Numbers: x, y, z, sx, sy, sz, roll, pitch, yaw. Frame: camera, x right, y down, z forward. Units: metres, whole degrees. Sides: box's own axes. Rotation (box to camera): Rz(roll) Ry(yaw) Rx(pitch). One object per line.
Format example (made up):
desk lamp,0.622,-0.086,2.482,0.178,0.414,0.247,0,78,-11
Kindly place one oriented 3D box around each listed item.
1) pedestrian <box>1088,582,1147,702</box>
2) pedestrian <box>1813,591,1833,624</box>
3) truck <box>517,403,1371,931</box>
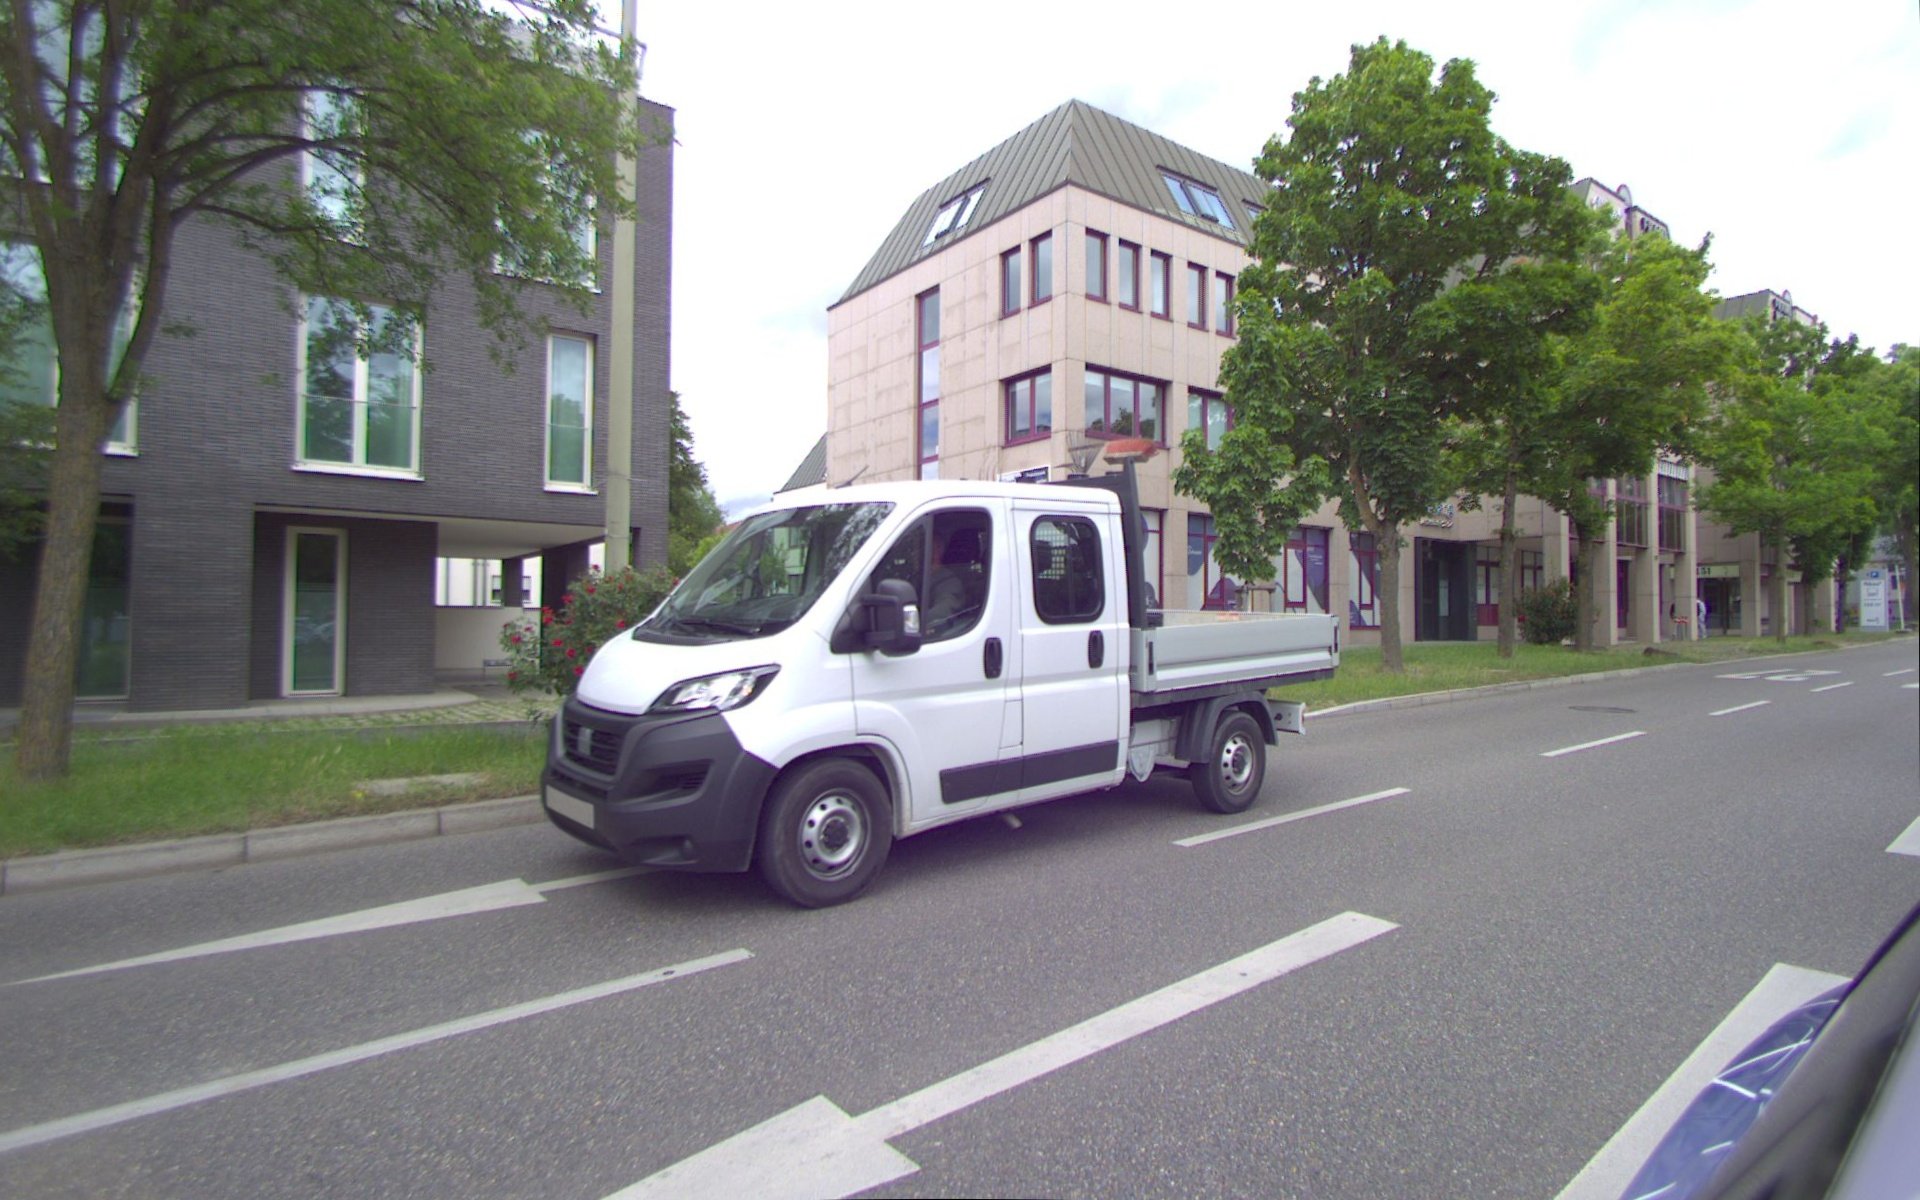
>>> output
pedestrian,2.475,0.640,15.938,0.665,1.828,0.642,0,-1,-41
pedestrian,46.346,0.389,54.335,0.817,1.769,0.718,0,0,-41
truck,0.277,0.274,6.954,5.738,2.231,2.216,0,0,-39
